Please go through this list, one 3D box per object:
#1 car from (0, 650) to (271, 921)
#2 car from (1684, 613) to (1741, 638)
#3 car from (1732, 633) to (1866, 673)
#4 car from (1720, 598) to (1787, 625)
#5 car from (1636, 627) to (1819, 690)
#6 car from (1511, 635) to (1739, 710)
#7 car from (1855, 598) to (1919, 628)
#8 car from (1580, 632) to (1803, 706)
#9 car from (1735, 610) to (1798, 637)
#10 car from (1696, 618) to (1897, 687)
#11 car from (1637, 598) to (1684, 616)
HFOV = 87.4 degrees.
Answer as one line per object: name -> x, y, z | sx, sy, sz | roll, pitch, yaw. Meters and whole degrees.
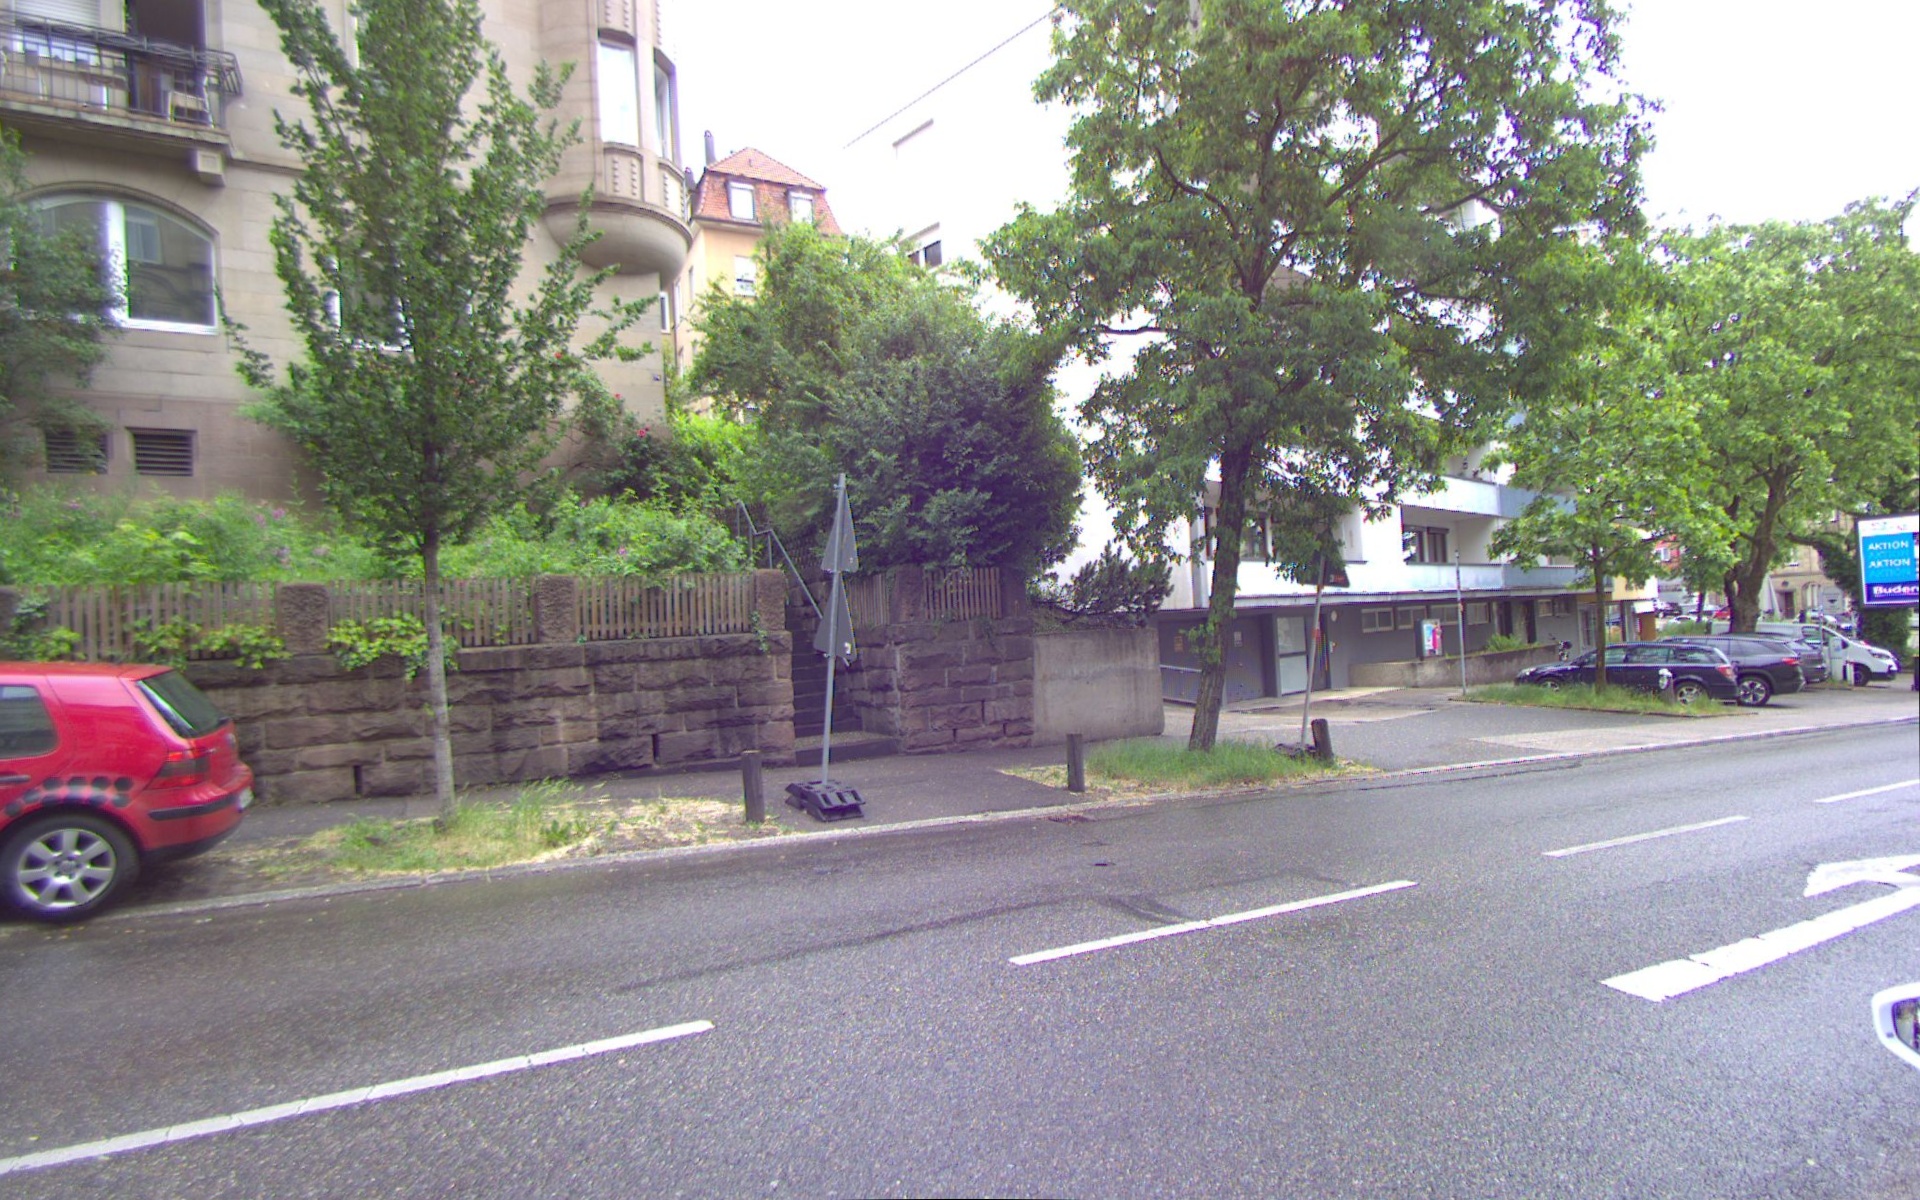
car -> -6.539, 1.058, 5.839 | 4.015, 1.470, 1.606 | 1, -2, -30
car -> 68.786, 2.318, 91.885 | 1.961, 2.130, 4.291 | -1, 1, -1
car -> 32.733, 2.054, 39.299 | 3.925, 1.469, 1.761 | -2, -3, 40
car -> 65.563, 0.952, 83.081 | 1.965, 2.040, 3.992 | 0, -3, -13
car -> 23.301, 1.742, 30.615 | 4.305, 1.807, 1.931 | -2, -3, 40
car -> 15.658, 1.692, 23.768 | 4.303, 1.594, 1.935 | -3, -4, 38
car -> 69.420, 0.907, 74.683 | 1.961, 2.130, 4.291 | -1, 1, -1
car -> 18.075, 1.697, 24.991 | 4.312, 1.694, 1.848 | -3, -4, 38
car -> 69.093, 1.988, 86.130 | 1.961, 2.130, 4.291 | -1, 1, -1
car -> 27.640, 1.699, 33.410 | 5.000, 2.132, 1.983 | -2, -3, 40
car -> 68.726, 0.685, 98.574 | 1.694, 1.711, 3.999 | 2, 0, -2
